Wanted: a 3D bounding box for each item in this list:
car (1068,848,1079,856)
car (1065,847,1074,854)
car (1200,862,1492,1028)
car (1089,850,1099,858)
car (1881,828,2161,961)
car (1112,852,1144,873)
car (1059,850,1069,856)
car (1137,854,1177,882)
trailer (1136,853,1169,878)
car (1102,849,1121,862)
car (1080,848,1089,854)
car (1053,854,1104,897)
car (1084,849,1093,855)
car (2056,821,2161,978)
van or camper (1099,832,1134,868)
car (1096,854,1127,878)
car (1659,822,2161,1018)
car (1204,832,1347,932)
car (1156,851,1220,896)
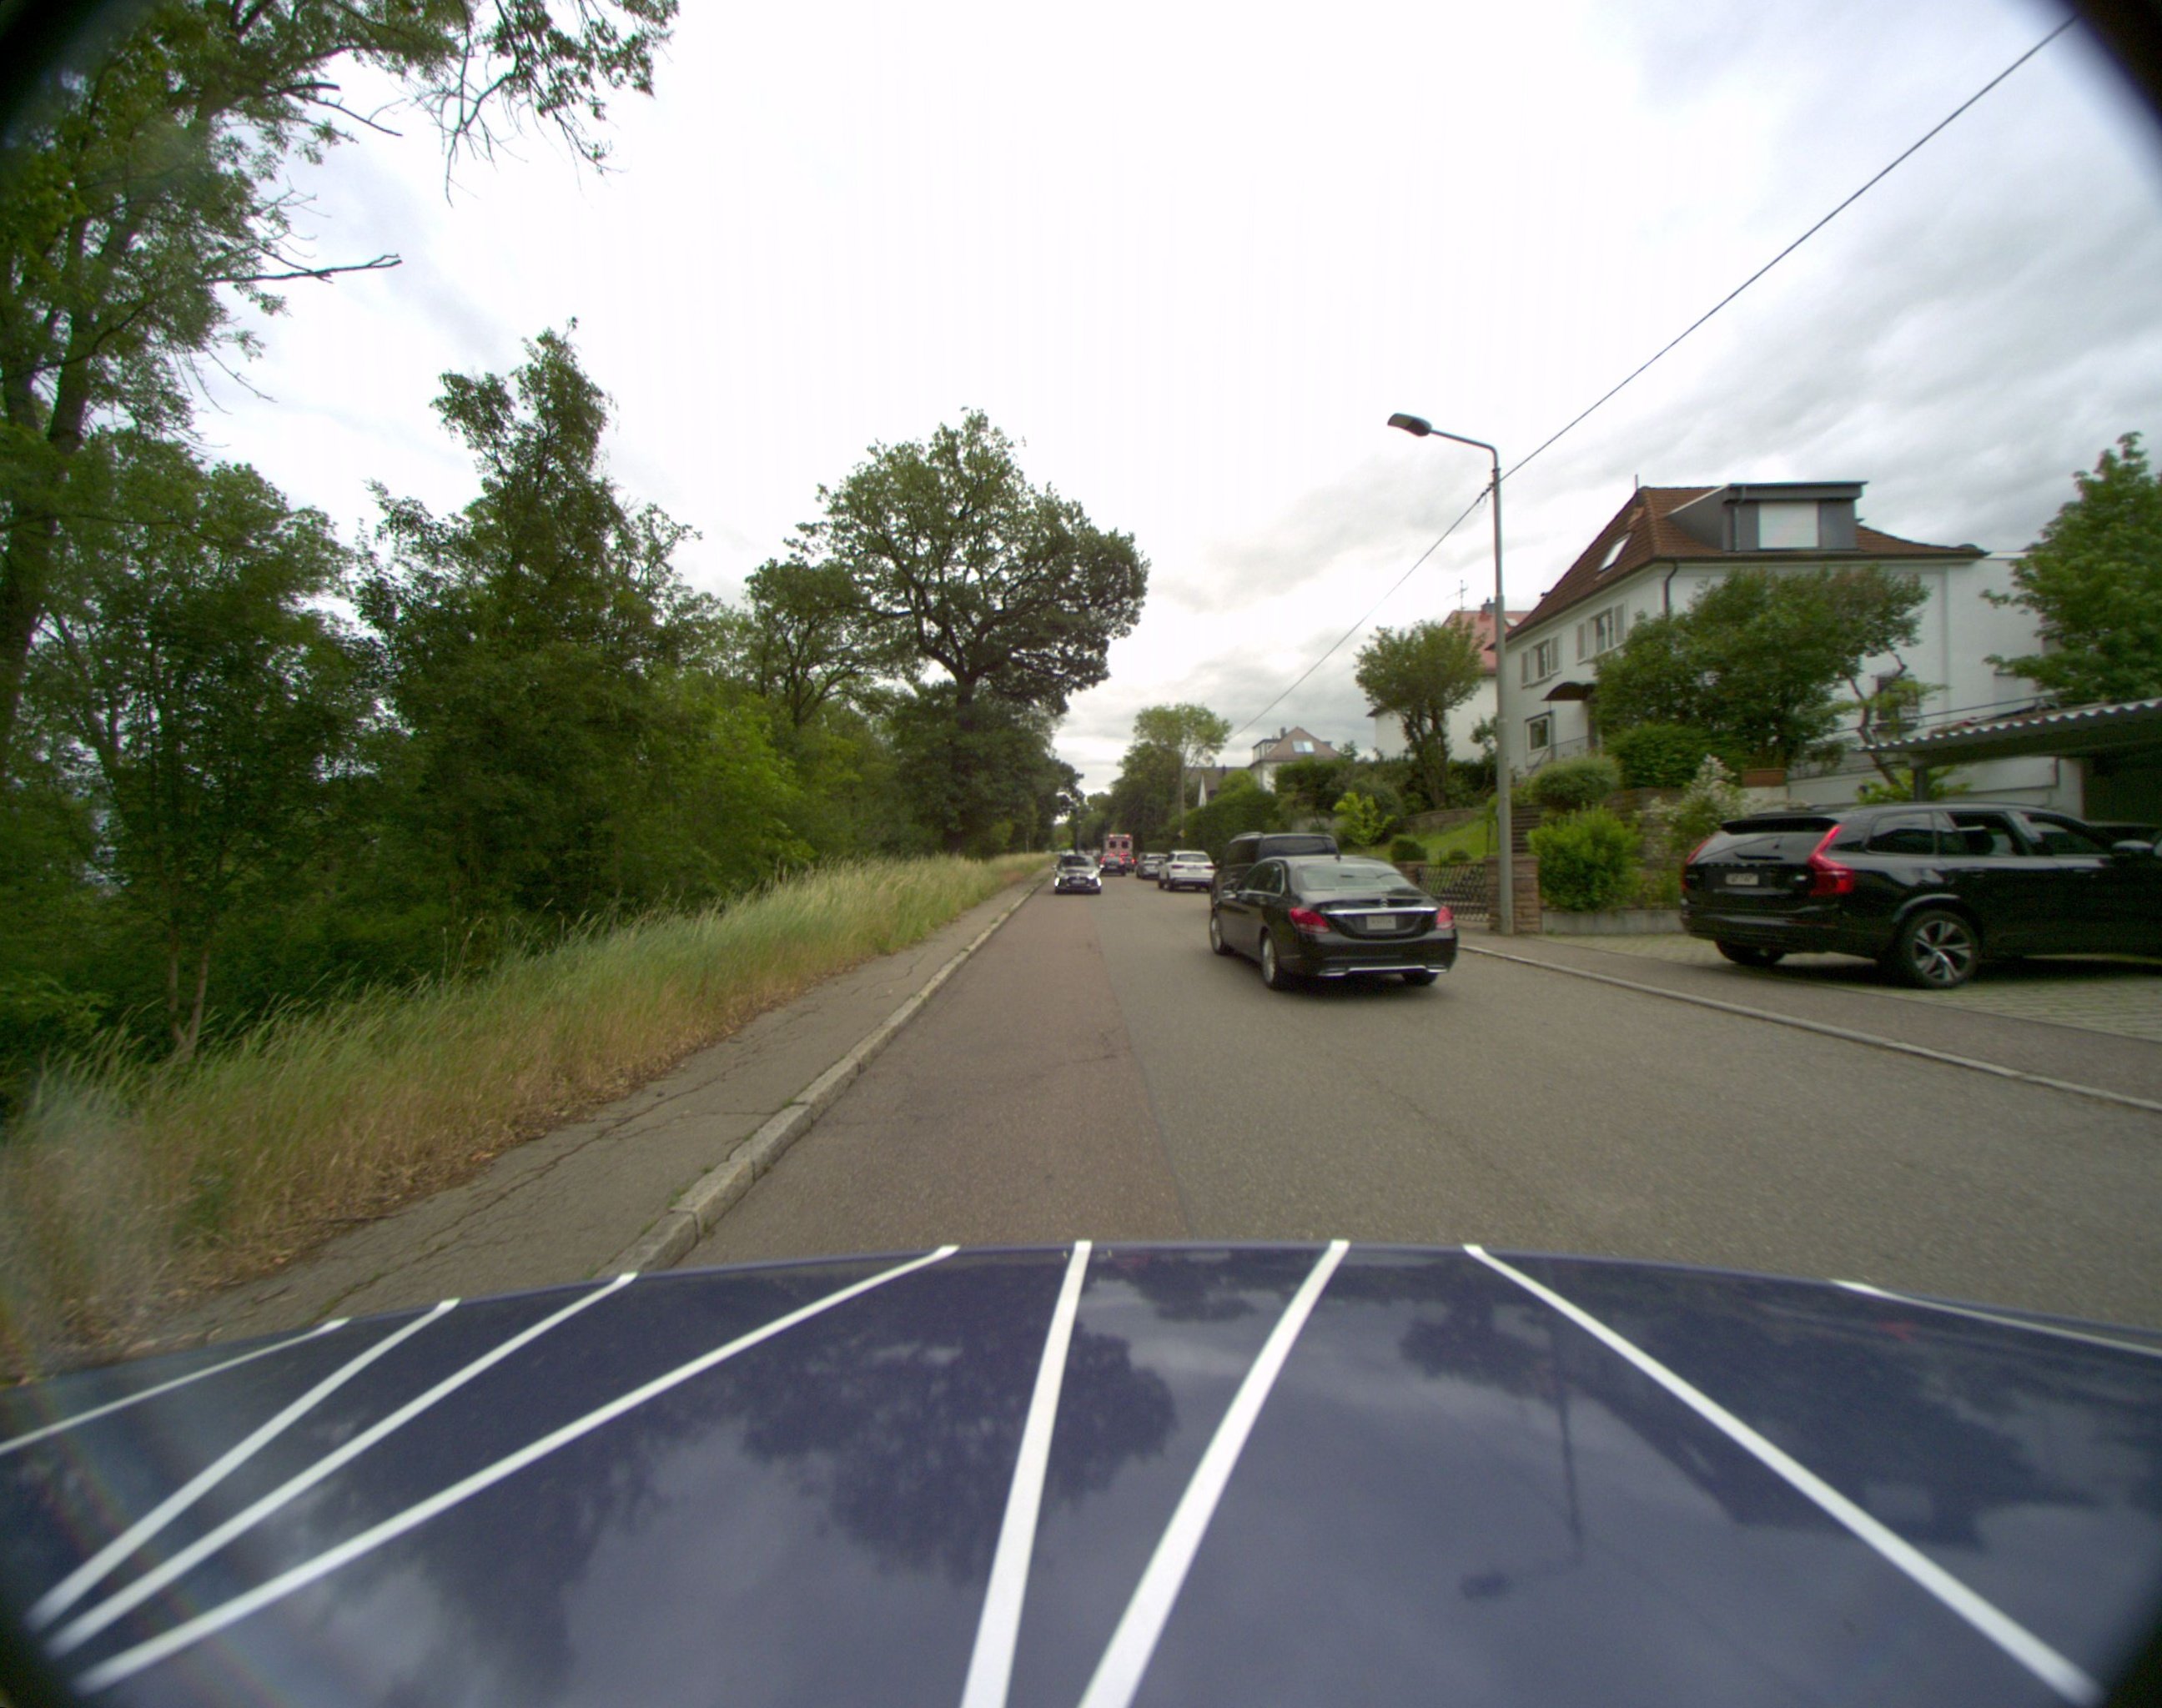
[{"bbox_3d":[-1.576,-0.370,158.921,1.999,1.678,4.708,-1,0,-4],"label":"car"},{"bbox_3d":[-2.781,-0.907,180.842,1.999,1.678,4.710,-1,0,-1],"label":"car"},{"bbox_3d":[2.814,0.866,9.316,1.868,1.406,4.591,-2,0,-1],"label":"car"},{"bbox_3d":[2.466,0.057,144.835,1.788,1.491,4.014,-1,0,-2],"label":"car"},{"bbox_3d":[14.751,0.528,10.889,4.629,1.687,2.000,-1,-2,-4],"label":"car"},{"bbox_3d":[3.424,0.603,56.164,1.768,1.438,4.471,0,0,-4],"label":"car"},{"bbox_3d":[-5.067,-0.311,223.364,2.000,1.678,4.706,-1,0,-11],"label":"car"},{"bbox_3d":[4.271,0.765,43.459,1.768,1.490,4.472,1,0,-1],"label":"car"},{"bbox_3d":[4.555,0.725,48.852,1.768,1.487,4.473,0,0,0],"label":"trailer"},{"bbox_3d":[3.913,0.193,97.979,1.921,1.553,4.602,1,0,-3],"label":"car"},{"bbox_3d":[0.809,-0.648,185.213,1.766,1.441,4.041,-1,0,-7],"label":"car"},{"bbox_3d":[-0.142,0.764,29.085,1.788,1.491,4.014,-2,0,-2],"label":"car"},{"bbox_3d":[1.545,-0.422,164.069,1.741,1.431,3.786,-1,0,-3],"label":"car"},{"bbox_3d":[13.697,0.462,8.135,4.134,1.687,2.000,-1,-2,-4],"label":"car"},{"bbox_3d":[2.963,-0.380,65.033,2.462,2.878,7.166,0,1,-1],"label":"van or camper"},{"bbox_3d":[1.930,0.721,49.200,1.768,1.438,4.472,0,0,-1],"label":"car"},{"bbox_3d":[8.935,0.562,7.792,4.629,1.687,1.999,-1,1,-4],"label":"car"},{"bbox_3d":[4.249,0.529,17.496,1.868,1.915,5.037,-2,0,-1],"label":"car"},{"bbox_3d":[4.267,0.729,30.865,1.843,1.639,4.184,1,1,-2],"label":"car"}]
